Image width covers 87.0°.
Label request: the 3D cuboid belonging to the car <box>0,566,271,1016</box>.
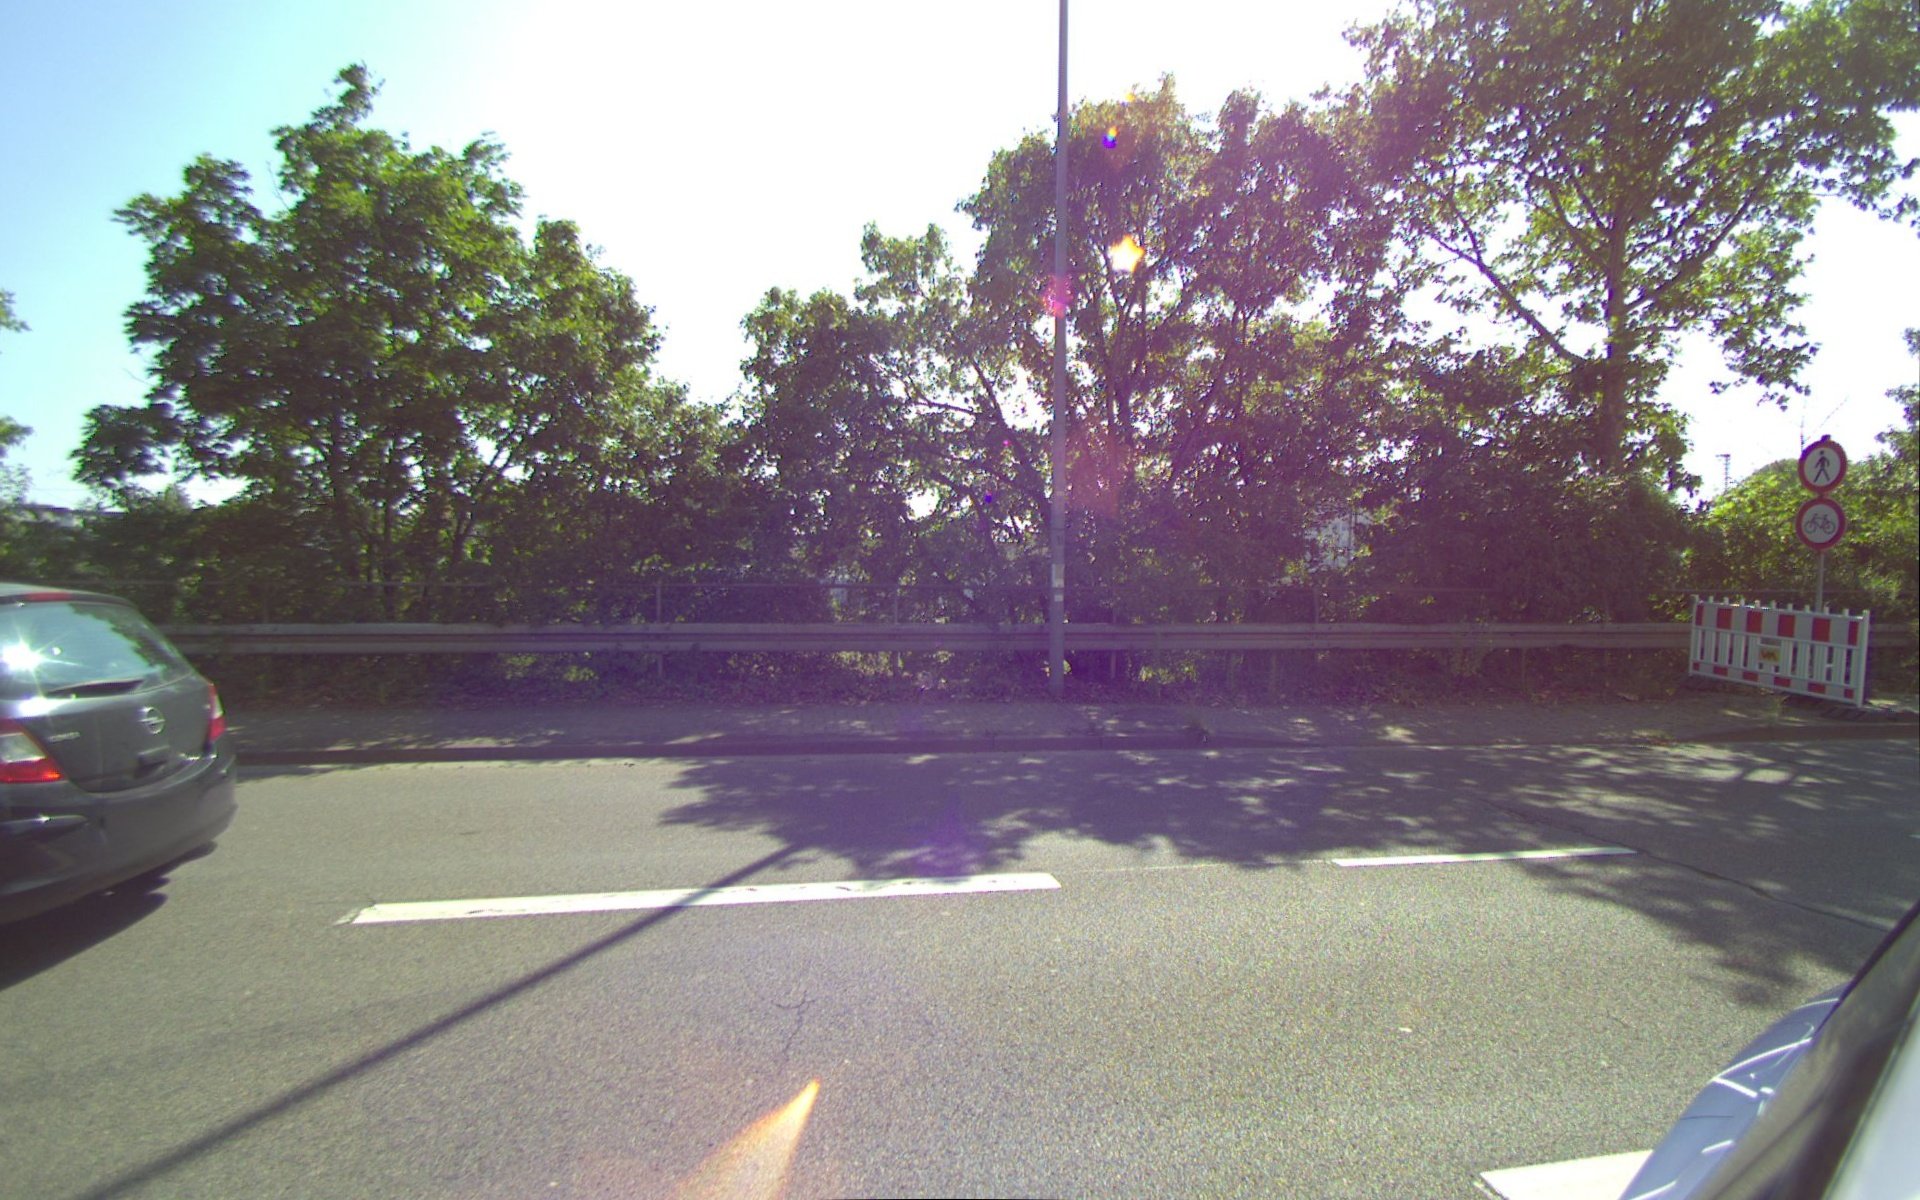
[{"bbox_3d":[-5.051,0.614,3.958,3.504,1.487,1.684,0,2,-8],"label":"car"}]
